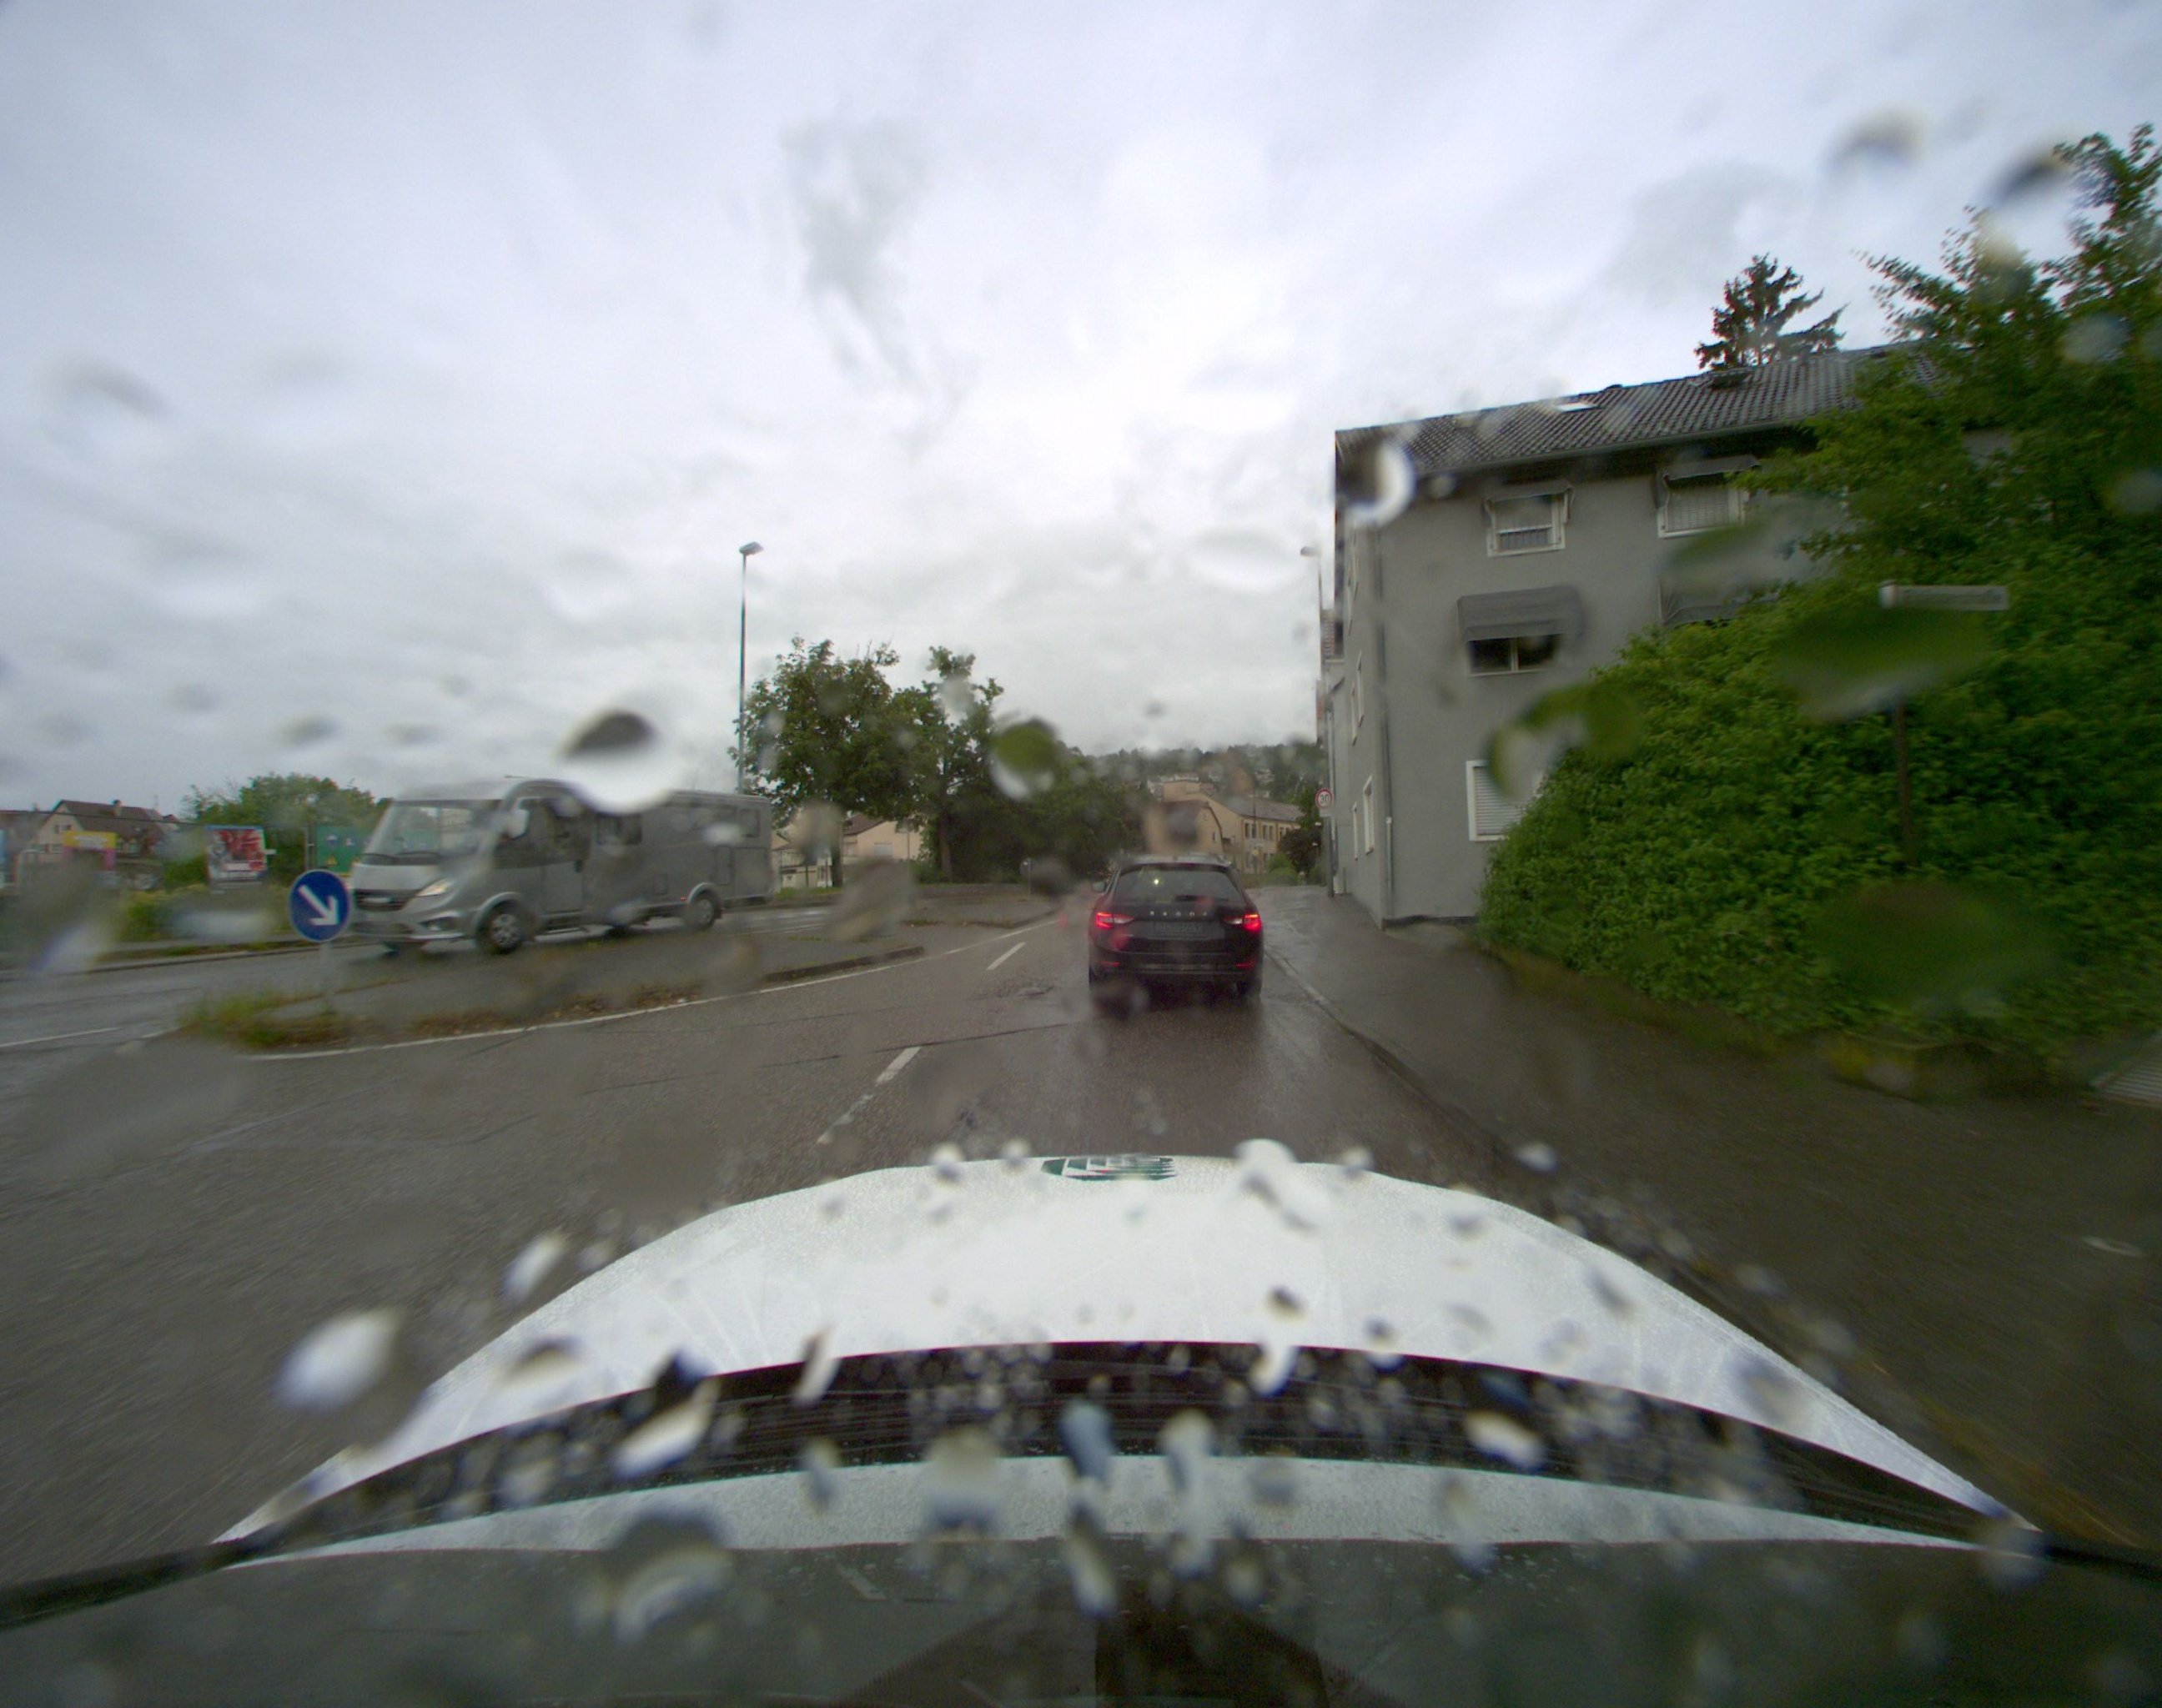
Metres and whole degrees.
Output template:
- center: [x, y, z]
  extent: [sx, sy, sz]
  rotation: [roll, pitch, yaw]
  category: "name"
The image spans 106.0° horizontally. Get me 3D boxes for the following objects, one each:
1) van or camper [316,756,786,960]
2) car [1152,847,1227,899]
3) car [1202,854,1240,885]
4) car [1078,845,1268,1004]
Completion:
- center: [-8.456, 0.048, 14.340]
  extent: [2.349, 2.656, 7.050]
  rotation: [-1, 0, 16]
  category: "van or camper"
- center: [3.315, 0.601, 24.264]
  extent: [1.805, 1.360, 4.003]
  rotation: [-2, -3, 13]
  category: "car"
- center: [6.965, 0.729, 40.362]
  extent: [1.641, 1.387, 3.933]
  rotation: [-1, 1, 12]
  category: "car"
- center: [0.989, 0.652, 9.777]
  extent: [1.774, 1.483, 4.250]
  rotation: [0, 0, 3]
  category: "car"
